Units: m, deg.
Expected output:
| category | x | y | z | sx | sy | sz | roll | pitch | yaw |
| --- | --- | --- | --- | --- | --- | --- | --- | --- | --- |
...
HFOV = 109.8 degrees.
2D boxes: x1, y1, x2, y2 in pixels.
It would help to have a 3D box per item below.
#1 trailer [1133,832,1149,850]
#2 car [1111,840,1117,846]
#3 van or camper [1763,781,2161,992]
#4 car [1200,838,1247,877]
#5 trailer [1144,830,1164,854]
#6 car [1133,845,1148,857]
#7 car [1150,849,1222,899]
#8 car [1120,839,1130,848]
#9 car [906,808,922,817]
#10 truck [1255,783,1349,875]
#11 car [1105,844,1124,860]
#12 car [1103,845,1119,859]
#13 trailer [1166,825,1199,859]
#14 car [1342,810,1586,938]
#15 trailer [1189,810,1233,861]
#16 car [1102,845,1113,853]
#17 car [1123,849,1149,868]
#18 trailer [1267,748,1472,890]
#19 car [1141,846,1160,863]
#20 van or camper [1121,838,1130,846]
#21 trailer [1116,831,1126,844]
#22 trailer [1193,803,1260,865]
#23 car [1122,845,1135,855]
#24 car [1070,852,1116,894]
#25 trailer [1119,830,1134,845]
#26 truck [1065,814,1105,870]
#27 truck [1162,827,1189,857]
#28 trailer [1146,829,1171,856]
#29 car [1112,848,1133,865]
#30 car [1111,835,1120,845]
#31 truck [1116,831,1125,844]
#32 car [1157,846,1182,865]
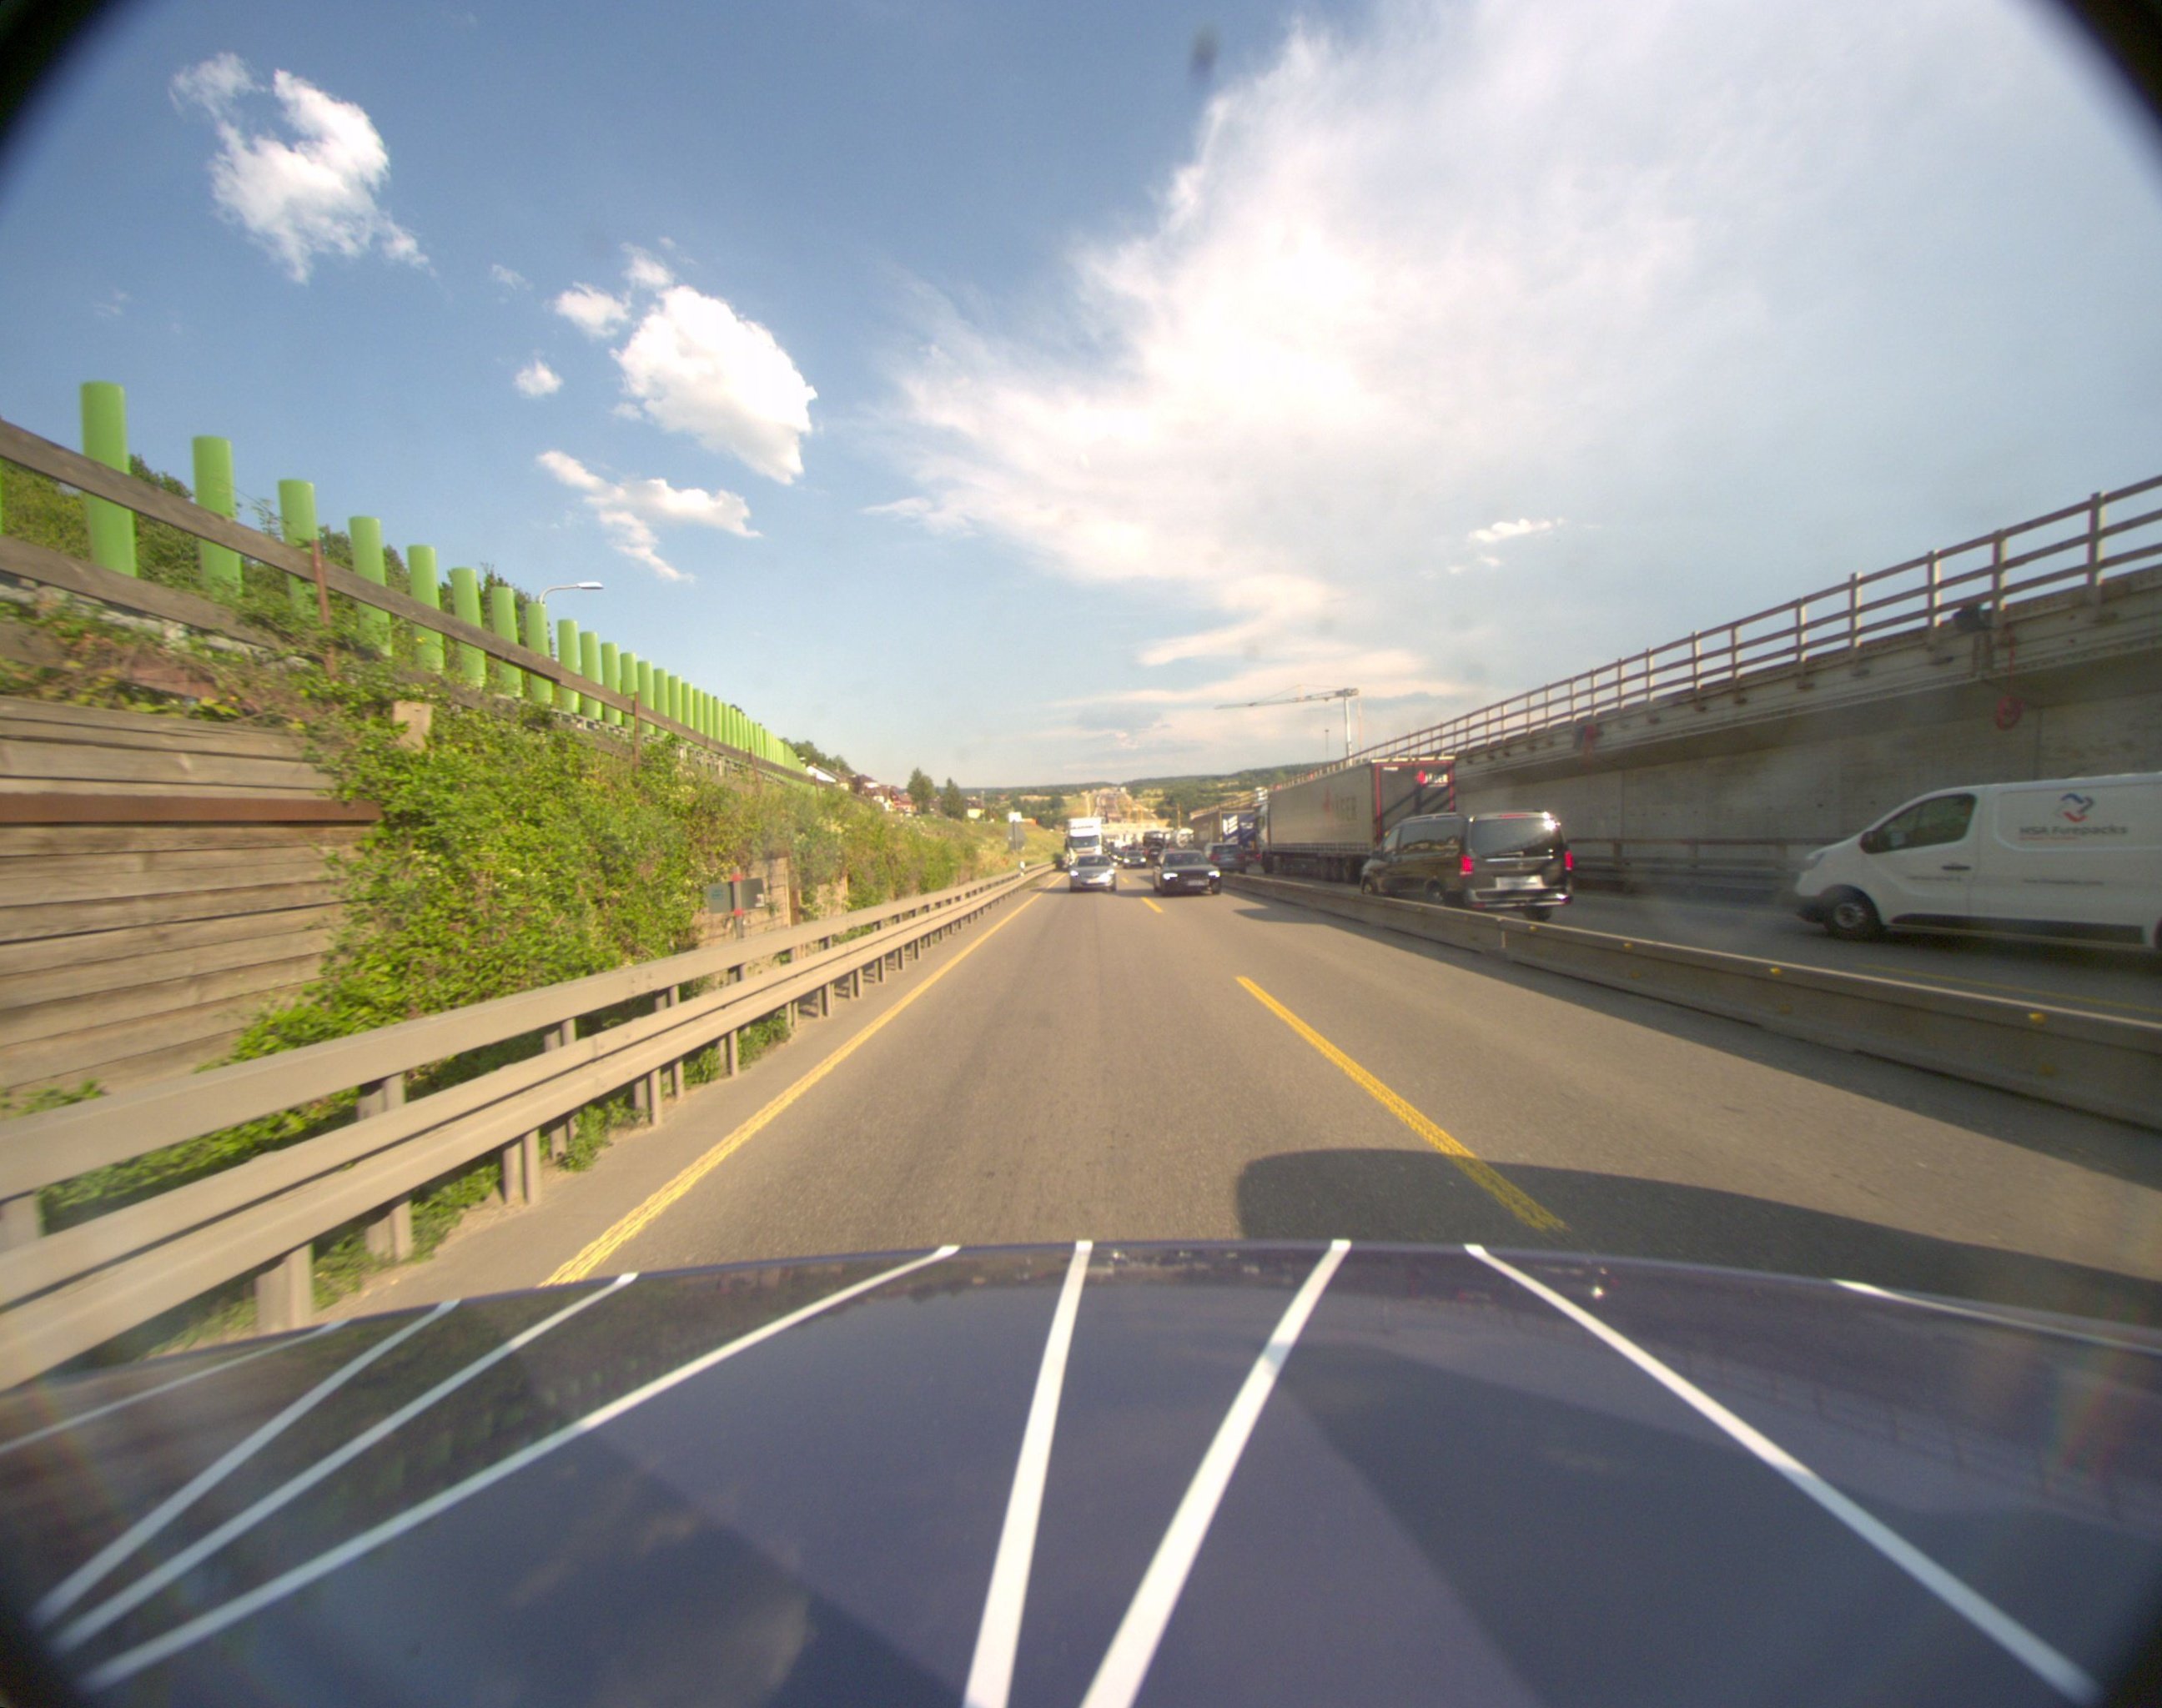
| category | x | y | z | sx | sy | sz | roll | pitch | yaw |
| --- | --- | --- | --- | --- | --- | --- | --- | --- | --- |
| trailer | 13.425 | -2.941 | 170.761 | 2.659 | 3.828 | 13.440 | -3 | 1 | 1 |
| car | 10.509 | -3.567 | 245.037 | 1.785 | 1.833 | 4.852 | -3 | 1 | 1 |
| van or camper | 10.656 | 0.239 | 8.231 | 1.922 | 1.911 | 4.921 | -3 | 1 | -3 |
| car | 7.410 | 0.117 | 39.907 | 1.826 | 1.762 | 5.140 | -3 | 1 | 5 |
| trailer | 12.892 | -2.199 | 134.276 | 2.778 | 4.008 | 7.206 | -3 | 1 | 1 |
| car | 8.493 | -0.472 | 108.748 | 1.729 | 1.548 | 4.297 | -3 | 0 | 1 |
| car | 3.414 | 0.604 | 25.463 | 1.873 | 1.411 | 4.348 | -2 | 1 | 1 |
| car | 8.634 | -2.031 | 149.914 | 1.761 | 1.569 | 4.338 | -3 | 1 | 1 |
| car | -32.287 | -7.950 | 146.781 | 1.998 | 1.434 | 3.999 | -3 | 1 | 2 |
| truck | 10.642 | -1.193 | 37.178 | 2.867 | 3.985 | 5.656 | -3 | 2 | 1 |
| car | 3.886 | -0.273 | 88.747 | 1.917 | 1.746 | 4.000 | -1 | 0 | 0 |
| car | 3.999 | -0.252 | 100.535 | 1.917 | 1.746 | 4.000 | -1 | 0 | 0 |
| trailer | 11.579 | -1.450 | 87.517 | 2.563 | 3.507 | 10.679 | -3 | 1 | 1 |
| car | 6.970 | 0.289 | 14.657 | 1.990 | 1.911 | 5.290 | -3 | 1 | 1 |
| trailer | 11.166 | -1.551 | 65.868 | 2.771 | 4.117 | 5.976 | -3 | 0 | 2 |
| car | 5.565 | -1.047 | 159.112 | 1.998 | 1.696 | 3.999 | -2 | 1 | 0 |
| car | 4.427 | 0.330 | 61.671 | 1.692 | 1.294 | 3.882 | -3 | 1 | -1 |
| trailer | 10.523 | -1.229 | 30.135 | 2.920 | 4.216 | 13.766 | -3 | 1 | 1 |
| car | 7.698 | 0.017 | 84.084 | 1.645 | 1.635 | 4.688 | -3 | 1 | 1 |
| van or camper | 11.145 | -3.033 | 190.100 | 1.863 | 2.002 | 5.294 | -3 | 1 | 0 |
| trailer | 13.549 | -5.681 | 257.501 | 2.834 | 4.259 | 8.734 | -3 | 1 | 1 |
| trailer | 11.010 | -1.390 | 59.167 | 2.771 | 4.117 | 14.025 | -3 | 0 | 2 |
| car | 8.276 | -0.677 | 132.404 | 1.770 | 1.543 | 4.835 | -3 | 1 | 0 |
| car | 0.475 | 0.707 | 29.935 | 1.671 | 1.425 | 3.523 | -2 | 1 | 1 |
| trailer | 12.878 | -4.699 | 217.104 | 2.933 | 4.014 | 13.768 | -3 | 1 | -1 |
| truck | 0.450 | -1.031 | 62.276 | 2.741 | 4.034 | 12.668 | -3 | 1 | 2 |
| truck | 11.684 | -1.497 | 93.938 | 2.555 | 3.390 | 5.530 | -3 | 1 | 1 |
| trailer | 12.738 | -2.020 | 126.815 | 2.778 | 4.008 | 15.760 | -3 | 1 | 1 |
| car | 4.287 | 0.237 | 79.622 | 1.998 | 1.740 | 4.000 | -2 | 1 | 1 |
| car | 9.438 | -3.949 | 208.731 | 1.999 | 2.608 | 7.407 | -3 | 1 | -2 |
| truck | 13.778 | -5.927 | 266.904 | 2.834 | 4.239 | 10.070 | -3 | 1 | 1 |
| car | 7.602 | 0.070 | 65.707 | 1.645 | 1.451 | 4.595 | -3 | 1 | 1 |
